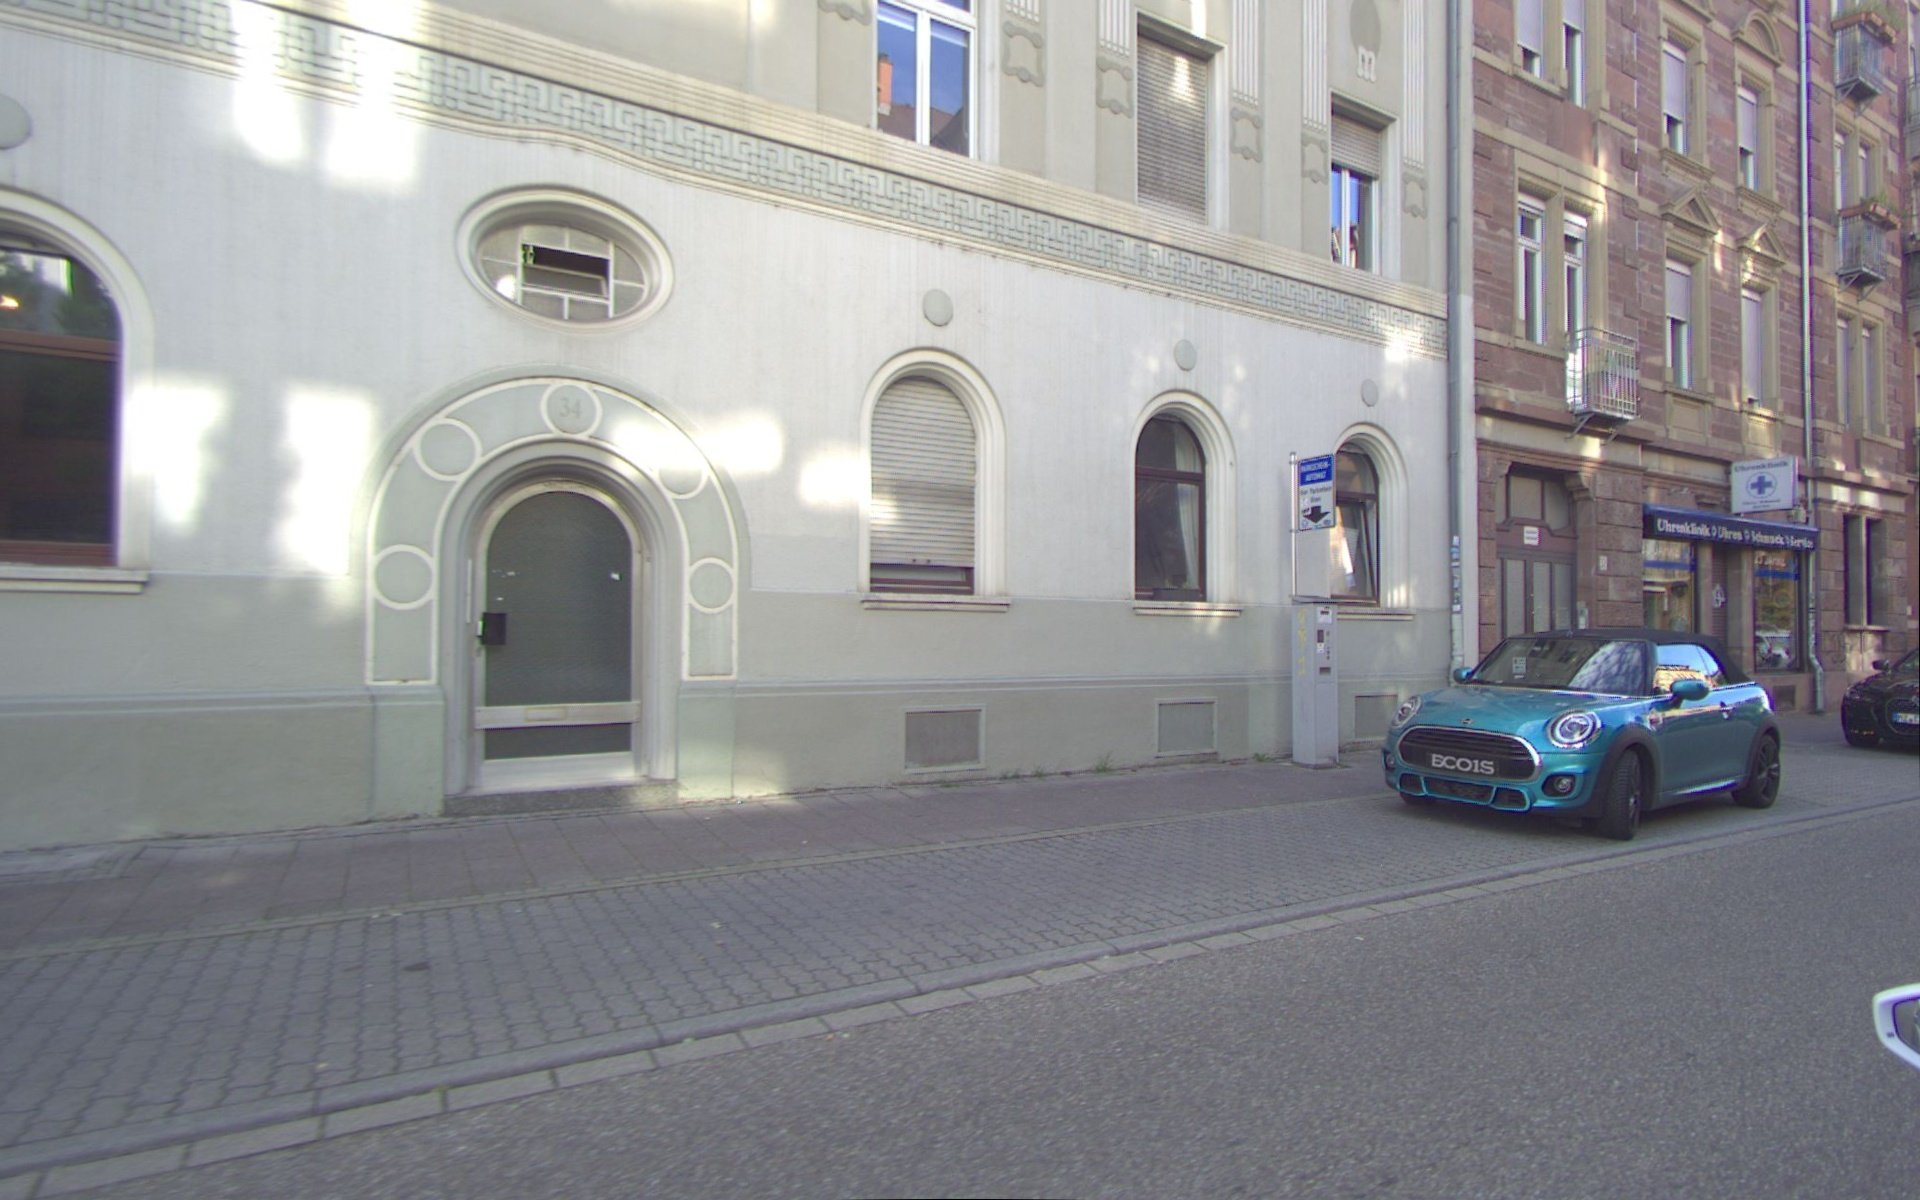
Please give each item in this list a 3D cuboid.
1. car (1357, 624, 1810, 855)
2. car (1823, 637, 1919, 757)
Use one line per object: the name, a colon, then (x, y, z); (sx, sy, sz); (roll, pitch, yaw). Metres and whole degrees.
car: (5.172, 0.950, 8.177); (3.970, 1.434, 1.659); (2, -1, -34)
car: (13.332, 1.198, 13.017); (5.057, 1.369, 1.803); (2, -1, -31)
